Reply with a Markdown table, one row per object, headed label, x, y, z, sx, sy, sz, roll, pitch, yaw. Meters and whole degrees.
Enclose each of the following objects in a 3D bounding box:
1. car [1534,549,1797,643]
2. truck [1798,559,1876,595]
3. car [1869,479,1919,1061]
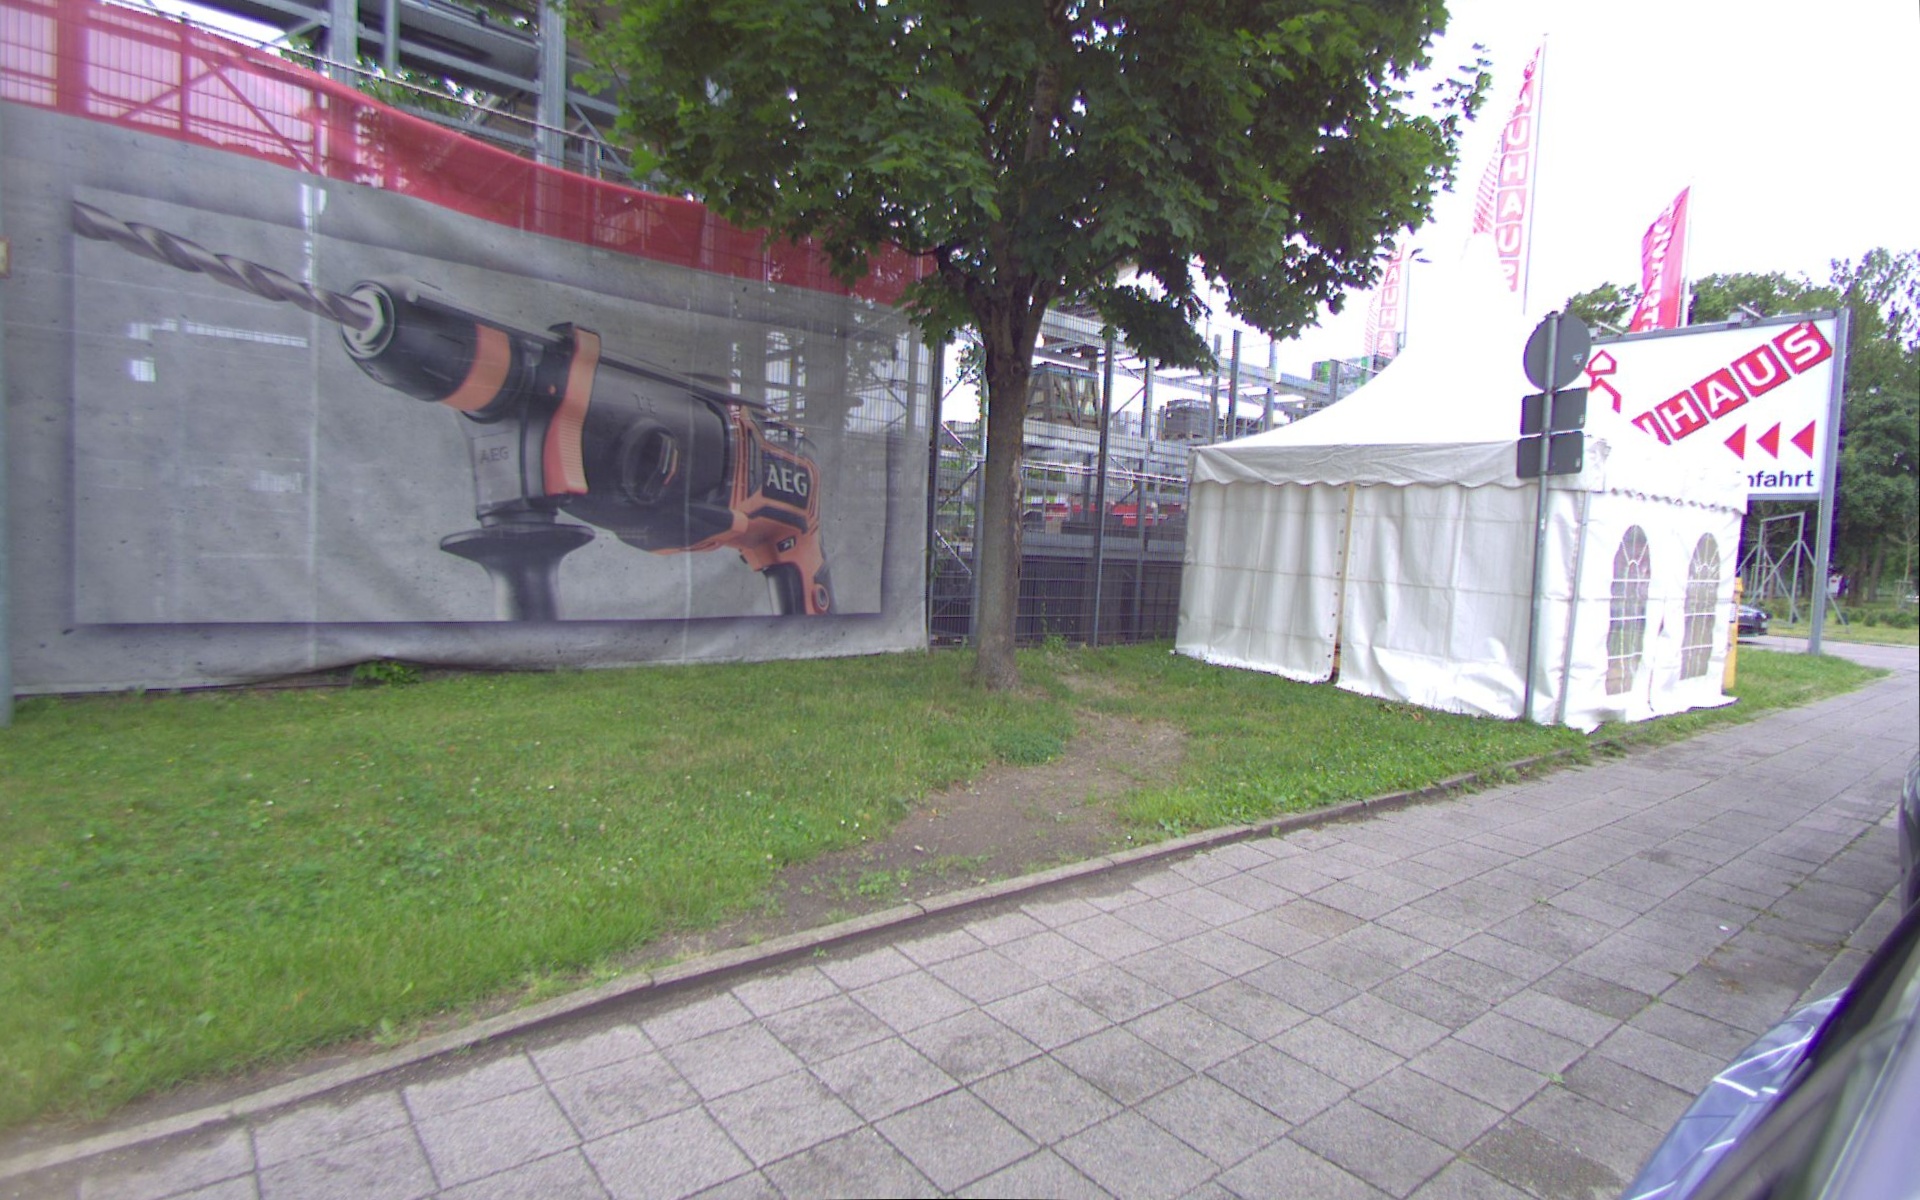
| label | x | y | z | sx | sy | sz | roll | pitch | yaw |
| --- | --- | --- | --- | --- | --- | --- | --- | --- | --- |
| car | 15.960 | -0.178 | 23.115 | 1.904 | 1.703 | 4.495 | 0 | 5 | -38 |
| truck | 66.131 | -1.730 | 76.384 | 3.925 | 2.425 | 2.001 | 3 | 3 | 1 |
| car | 5.147 | 0.524 | 3.788 | 4.399 | 1.762 | 1.913 | 0 | 1 | -39 |
